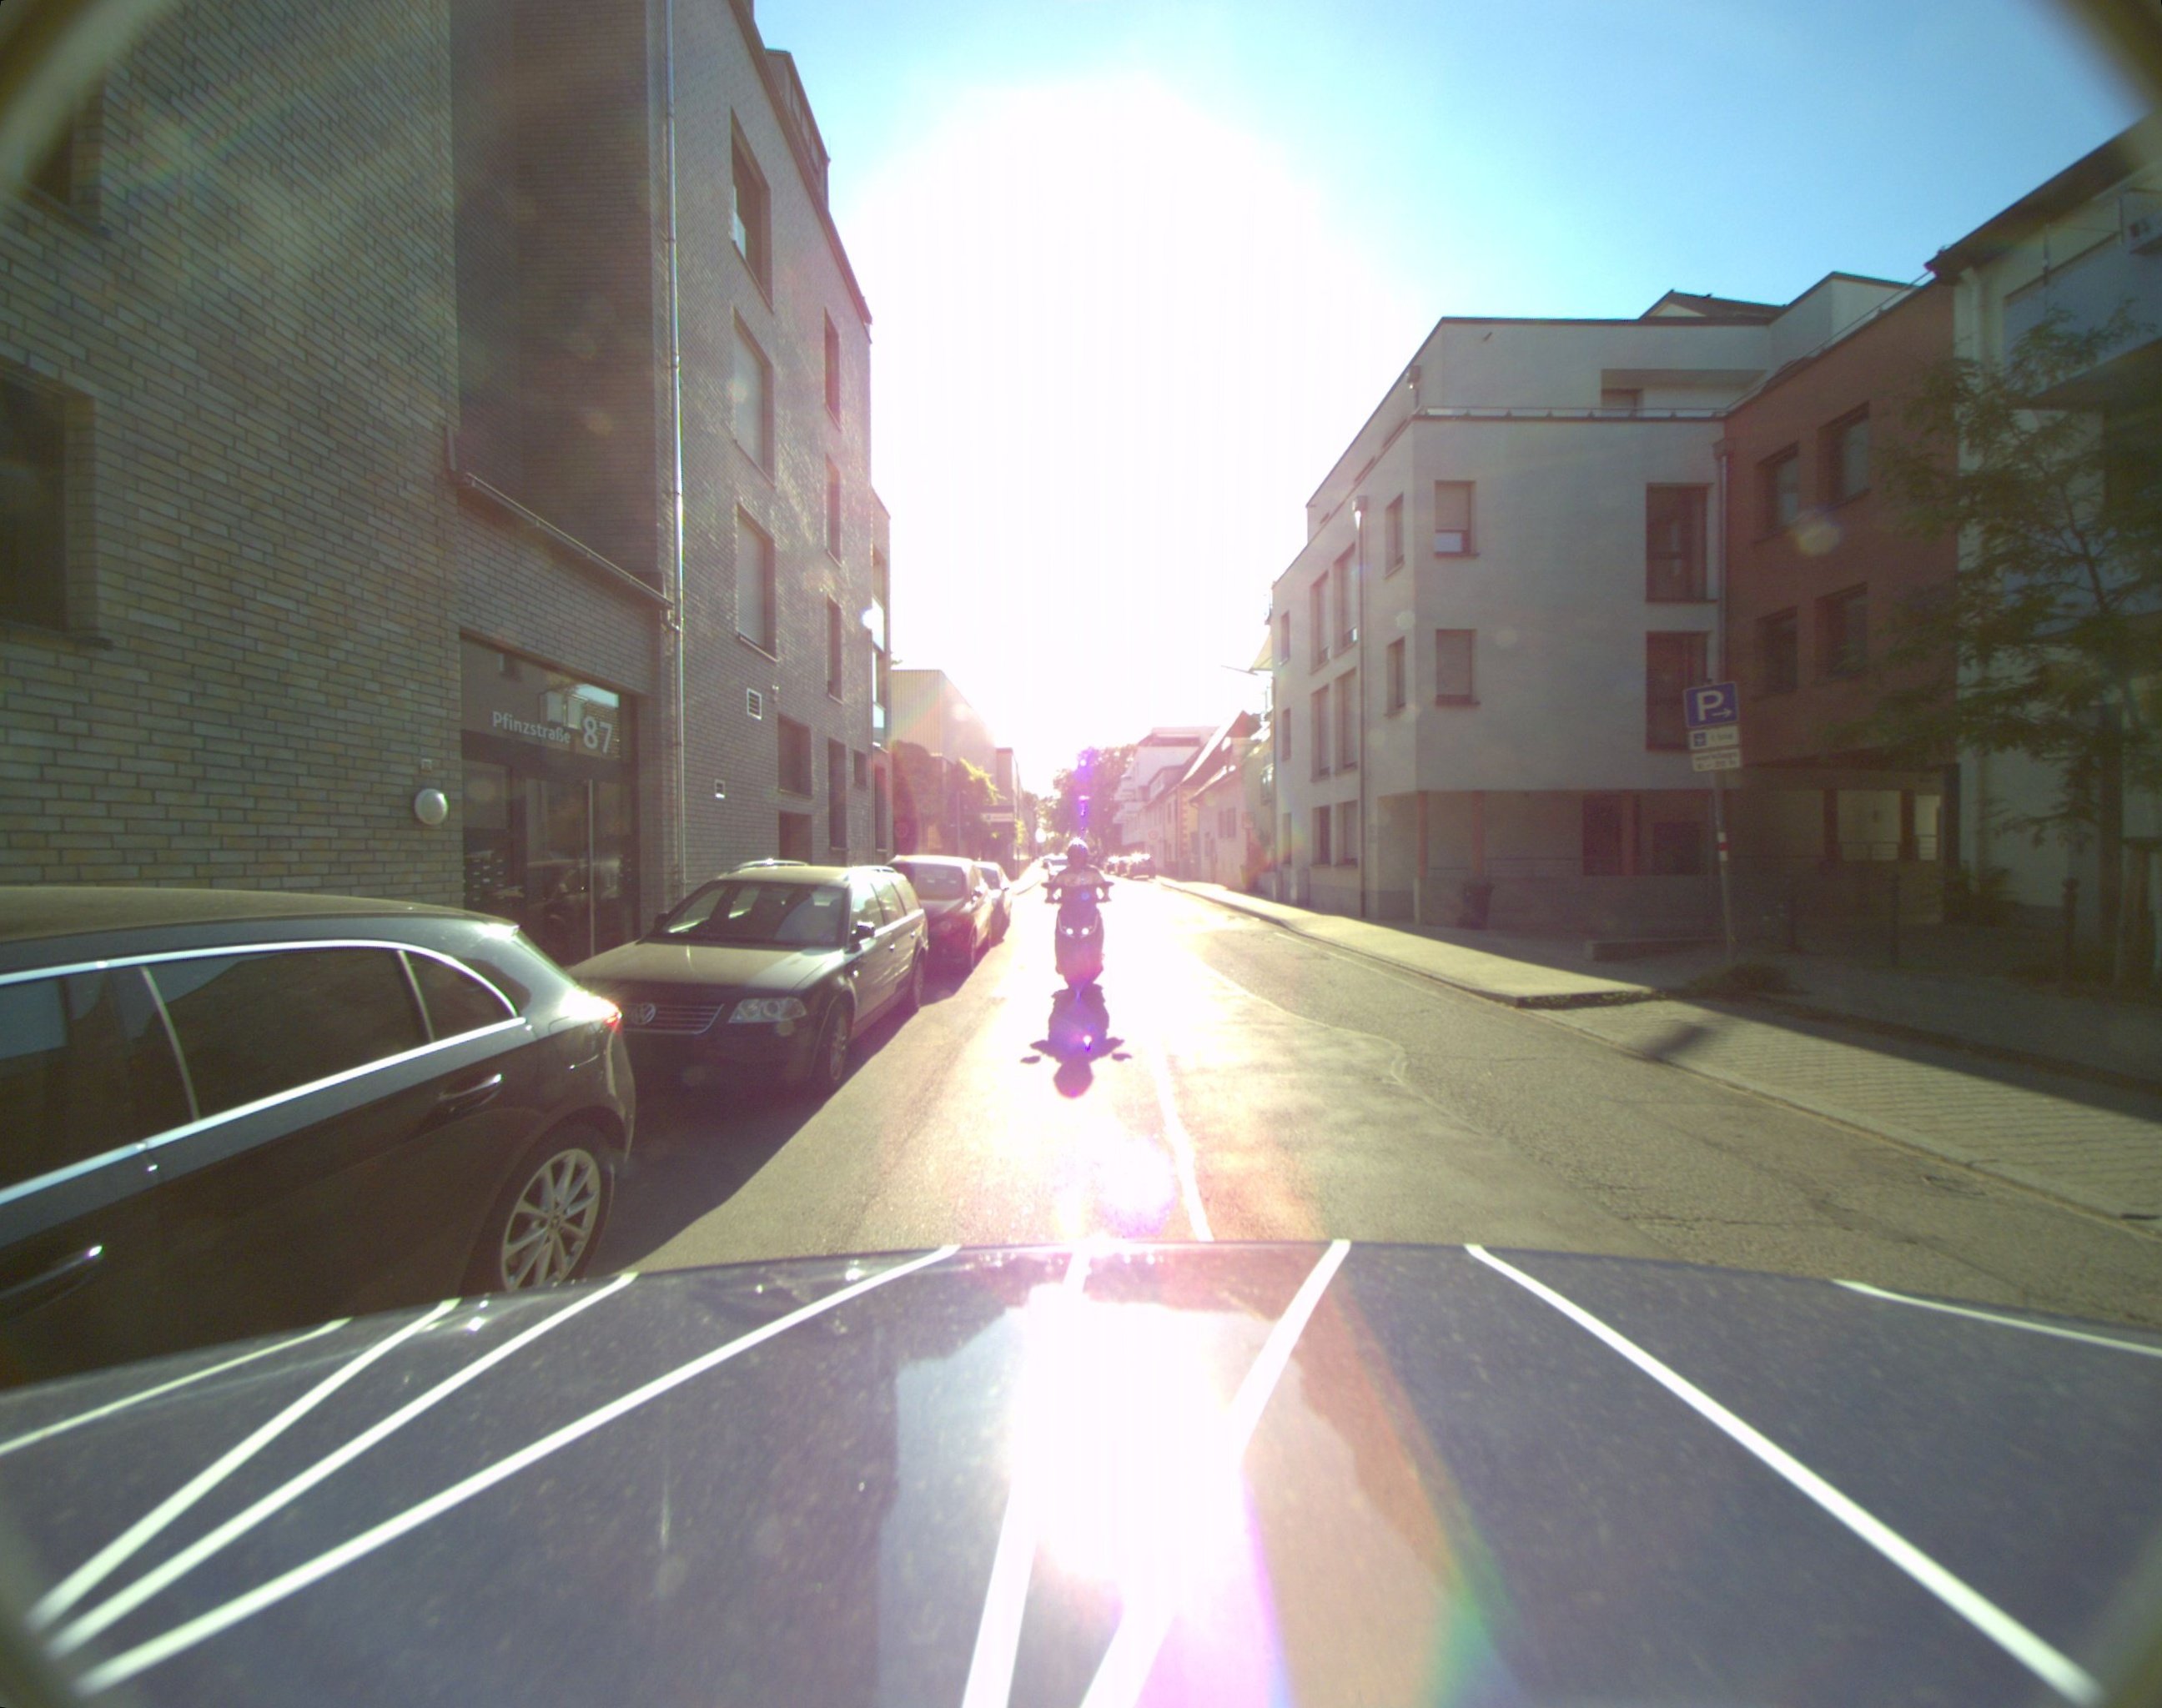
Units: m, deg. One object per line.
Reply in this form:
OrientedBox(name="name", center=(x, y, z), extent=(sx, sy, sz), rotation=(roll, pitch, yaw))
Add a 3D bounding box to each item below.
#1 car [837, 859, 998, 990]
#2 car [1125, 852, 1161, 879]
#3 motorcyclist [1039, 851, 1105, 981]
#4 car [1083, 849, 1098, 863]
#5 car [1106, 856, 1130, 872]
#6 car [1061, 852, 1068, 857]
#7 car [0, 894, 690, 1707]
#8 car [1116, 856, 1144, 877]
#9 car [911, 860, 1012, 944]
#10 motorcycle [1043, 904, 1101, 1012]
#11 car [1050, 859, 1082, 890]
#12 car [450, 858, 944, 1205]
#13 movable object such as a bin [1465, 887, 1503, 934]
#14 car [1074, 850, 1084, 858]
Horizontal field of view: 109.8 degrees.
OrientedBox(name="car", center=(-2.253, 0.894, 11.569), extent=(1.655, 1.582, 4.341), rotation=(1, 0, -2))
OrientedBox(name="car", center=(4.352, 0.787, 53.901), extent=(1.999, 1.619, 3.999), rotation=(-7, 0, -1))
OrientedBox(name="motorcyclist", center=(-0.091, 0.685, 8.764), extent=(0.717, 1.424, 0.746), rotation=(-1, 1, 1))
OrientedBox(name="car", center=(1.167, 0.246, 93.195), extent=(1.736, 1.456, 3.999), rotation=(-4, 1, -1))
OrientedBox(name="car", center=(3.516, 0.969, 72.738), extent=(1.999, 1.458, 3.999), rotation=(-1, 0, -1))
OrientedBox(name="car", center=(-4.642, 0.013, 211.310), extent=(1.998, 1.346, 4.000), rotation=(0, 0, 0))
OrientedBox(name="car", center=(-2.628, 0.981, 1.011), extent=(1.729, 1.520, 4.625), rotation=(3, 0, 1))
OrientedBox(name="car", center=(4.019, 0.980, 62.570), extent=(1.999, 1.613, 3.999), rotation=(-1, 0, -1))
OrientedBox(name="car", center=(-2.389, 0.909, 16.036), extent=(1.732, 1.515, 3.653), rotation=(-1, 0, -3))
OrientedBox(name="motorcycle", center=(-0.082, 1.149, 8.858), extent=(0.598, 1.004, 1.821), rotation=(-1, 0, 1))
OrientedBox(name="car", center=(-0.864, 1.121, 43.452), extent=(1.708, 1.570, 3.915), rotation=(-3, 1, -1))
OrientedBox(name="car", center=(-2.401, 0.921, 6.321), extent=(1.671, 1.723, 4.838), rotation=(-1, 0, -1))
OrientedBox(name="movable object such as a bin", center=(7.695, 1.074, 14.530), extent=(0.491, 0.871, 0.433), rotation=(-1, 1, -3))
OrientedBox(name="car", center=(-0.465, -0.066, 160.847), extent=(1.998, 1.665, 4.000), rotation=(0, 0, 0))
